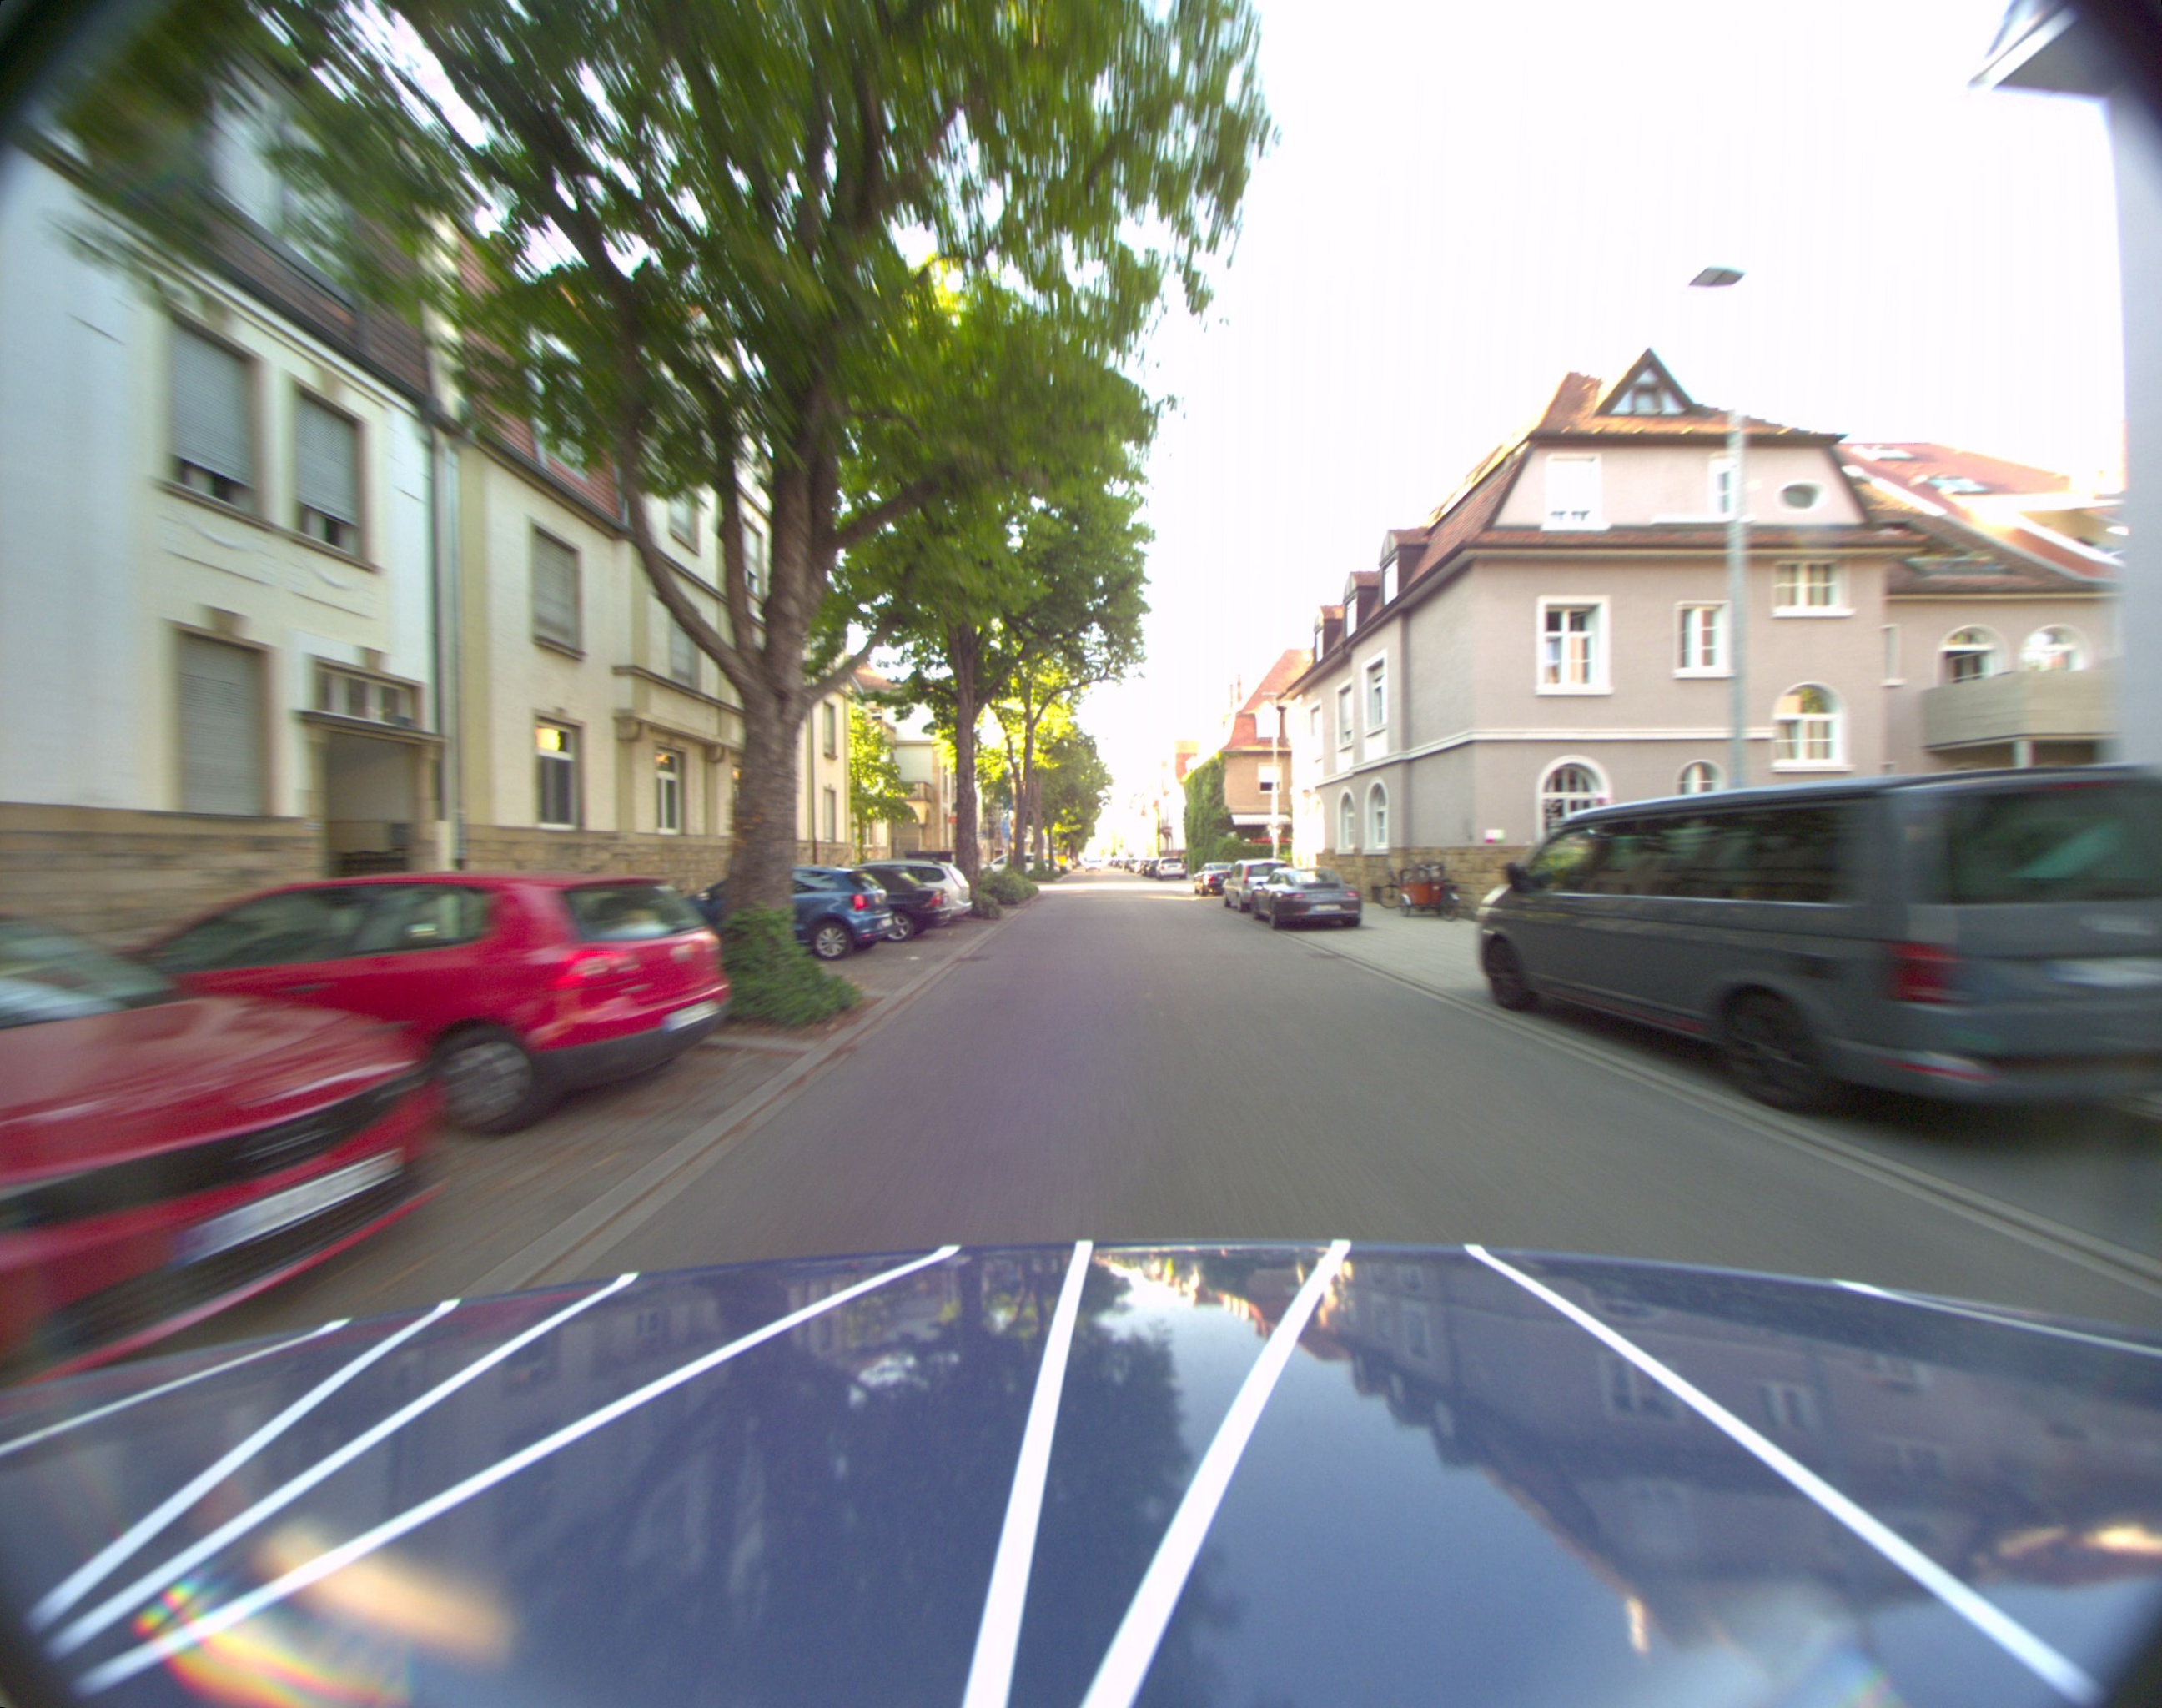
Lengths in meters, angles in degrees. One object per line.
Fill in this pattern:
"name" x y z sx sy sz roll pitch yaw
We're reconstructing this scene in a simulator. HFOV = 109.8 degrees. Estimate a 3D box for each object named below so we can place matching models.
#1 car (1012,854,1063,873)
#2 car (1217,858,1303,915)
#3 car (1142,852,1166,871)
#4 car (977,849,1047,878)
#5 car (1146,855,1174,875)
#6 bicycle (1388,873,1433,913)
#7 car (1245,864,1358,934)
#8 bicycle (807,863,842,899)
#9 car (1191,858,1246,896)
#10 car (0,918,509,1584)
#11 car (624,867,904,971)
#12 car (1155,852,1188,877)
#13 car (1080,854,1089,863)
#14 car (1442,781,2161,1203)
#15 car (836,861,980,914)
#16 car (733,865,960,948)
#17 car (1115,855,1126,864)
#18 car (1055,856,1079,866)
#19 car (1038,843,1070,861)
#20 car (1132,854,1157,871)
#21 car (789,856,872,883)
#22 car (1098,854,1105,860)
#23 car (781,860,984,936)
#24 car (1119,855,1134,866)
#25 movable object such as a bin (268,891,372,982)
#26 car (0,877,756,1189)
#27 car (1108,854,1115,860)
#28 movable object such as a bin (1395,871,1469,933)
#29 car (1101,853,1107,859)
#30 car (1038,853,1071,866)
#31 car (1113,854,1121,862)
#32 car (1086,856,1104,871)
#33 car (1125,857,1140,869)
"car" -3.740 0.829 65.508 4.153 1.526 1.687 1 0 3
"car" 5.153 0.882 22.396 1.657 1.437 3.960 -2 0 2
"car" 5.860 0.593 61.340 1.653 1.412 4.099 -2 0 1
"car" -4.447 0.607 49.520 4.325 1.796 2.000 1 0 0
"car" 5.733 0.796 55.613 1.690 1.371 3.721 -2 0 1
"bicycle" 8.293 0.966 19.187 0.394 0.931 1.722 -1 0 1
"car" 4.865 0.932 17.321 1.534 1.311 4.228 -2 0 3
"bicycle" -9.202 0.946 27.312 0.586 1.205 1.957 -1 0 -1
"car" 5.550 0.893 31.054 1.657 1.316 4.046 -2 1 3
"car" -4.754 1.002 2.487 4.421 1.411 1.877 1 1 3
"car" -4.934 0.996 12.176 3.802 1.474 1.560 -1 1 1
"car" 5.753 0.641 48.659 1.708 1.452 3.918 -2 0 2
"car" 0.820 0.988 171.000 1.998 1.874 4.000 -1 0 0
"car" 5.004 0.632 5.974 1.987 1.936 4.851 -2 0 0
"car" -4.895 0.939 21.923 3.804 1.429 1.748 0 0 -4
"car" -4.428 0.975 14.772 3.802 1.429 1.817 -1 1 1
"car" 6.813 0.932 130.401 1.657 1.445 4.631 -2 0 1
"car" -2.620 1.308 141.554 4.313 1.874 1.758 0 1 -2
"car" -4.360 -0.337 122.926 5.109 2.885 2.076 0 0 -2
"car" 6.001 0.772 72.215 1.797 1.453 4.776 -2 0 -2
"car" -14.236 0.909 43.378 4.167 1.467 1.656 -1 -1 0
"car" 5.589 0.815 203.767 1.776 1.440 4.000 0 0 1
"car" -4.421 0.971 17.388 4.157 1.567 1.712 -1 1 1
"car" 6.678 0.963 111.826 1.714 1.461 4.633 -2 0 -1
"movable object such as a bin" -9.393 1.001 9.393 0.702 1.043 0.541 3 0 0
"car" -4.629 0.958 4.971 4.199 1.467 1.852 1 1 3
"car" 7.347 0.669 183.053 1.723 1.386 3.908 -2 0 2
"movable object such as a bin" 7.922 1.043 17.259 0.723 1.276 2.096 -1 0 1
"car" 7.740 0.650 257.426 1.913 1.679 4.199 -2 0 1
"car" -3.561 0.789 101.936 4.343 1.673 1.705 1 0 -2
"car" 7.355 0.865 155.486 1.654 1.474 3.429 -2 0 2
"car" 1.677 1.137 90.691 2.098 1.700 4.607 -1 0 2
"car" 6.484 1.091 96.473 1.657 1.438 4.005 -2 0 1
